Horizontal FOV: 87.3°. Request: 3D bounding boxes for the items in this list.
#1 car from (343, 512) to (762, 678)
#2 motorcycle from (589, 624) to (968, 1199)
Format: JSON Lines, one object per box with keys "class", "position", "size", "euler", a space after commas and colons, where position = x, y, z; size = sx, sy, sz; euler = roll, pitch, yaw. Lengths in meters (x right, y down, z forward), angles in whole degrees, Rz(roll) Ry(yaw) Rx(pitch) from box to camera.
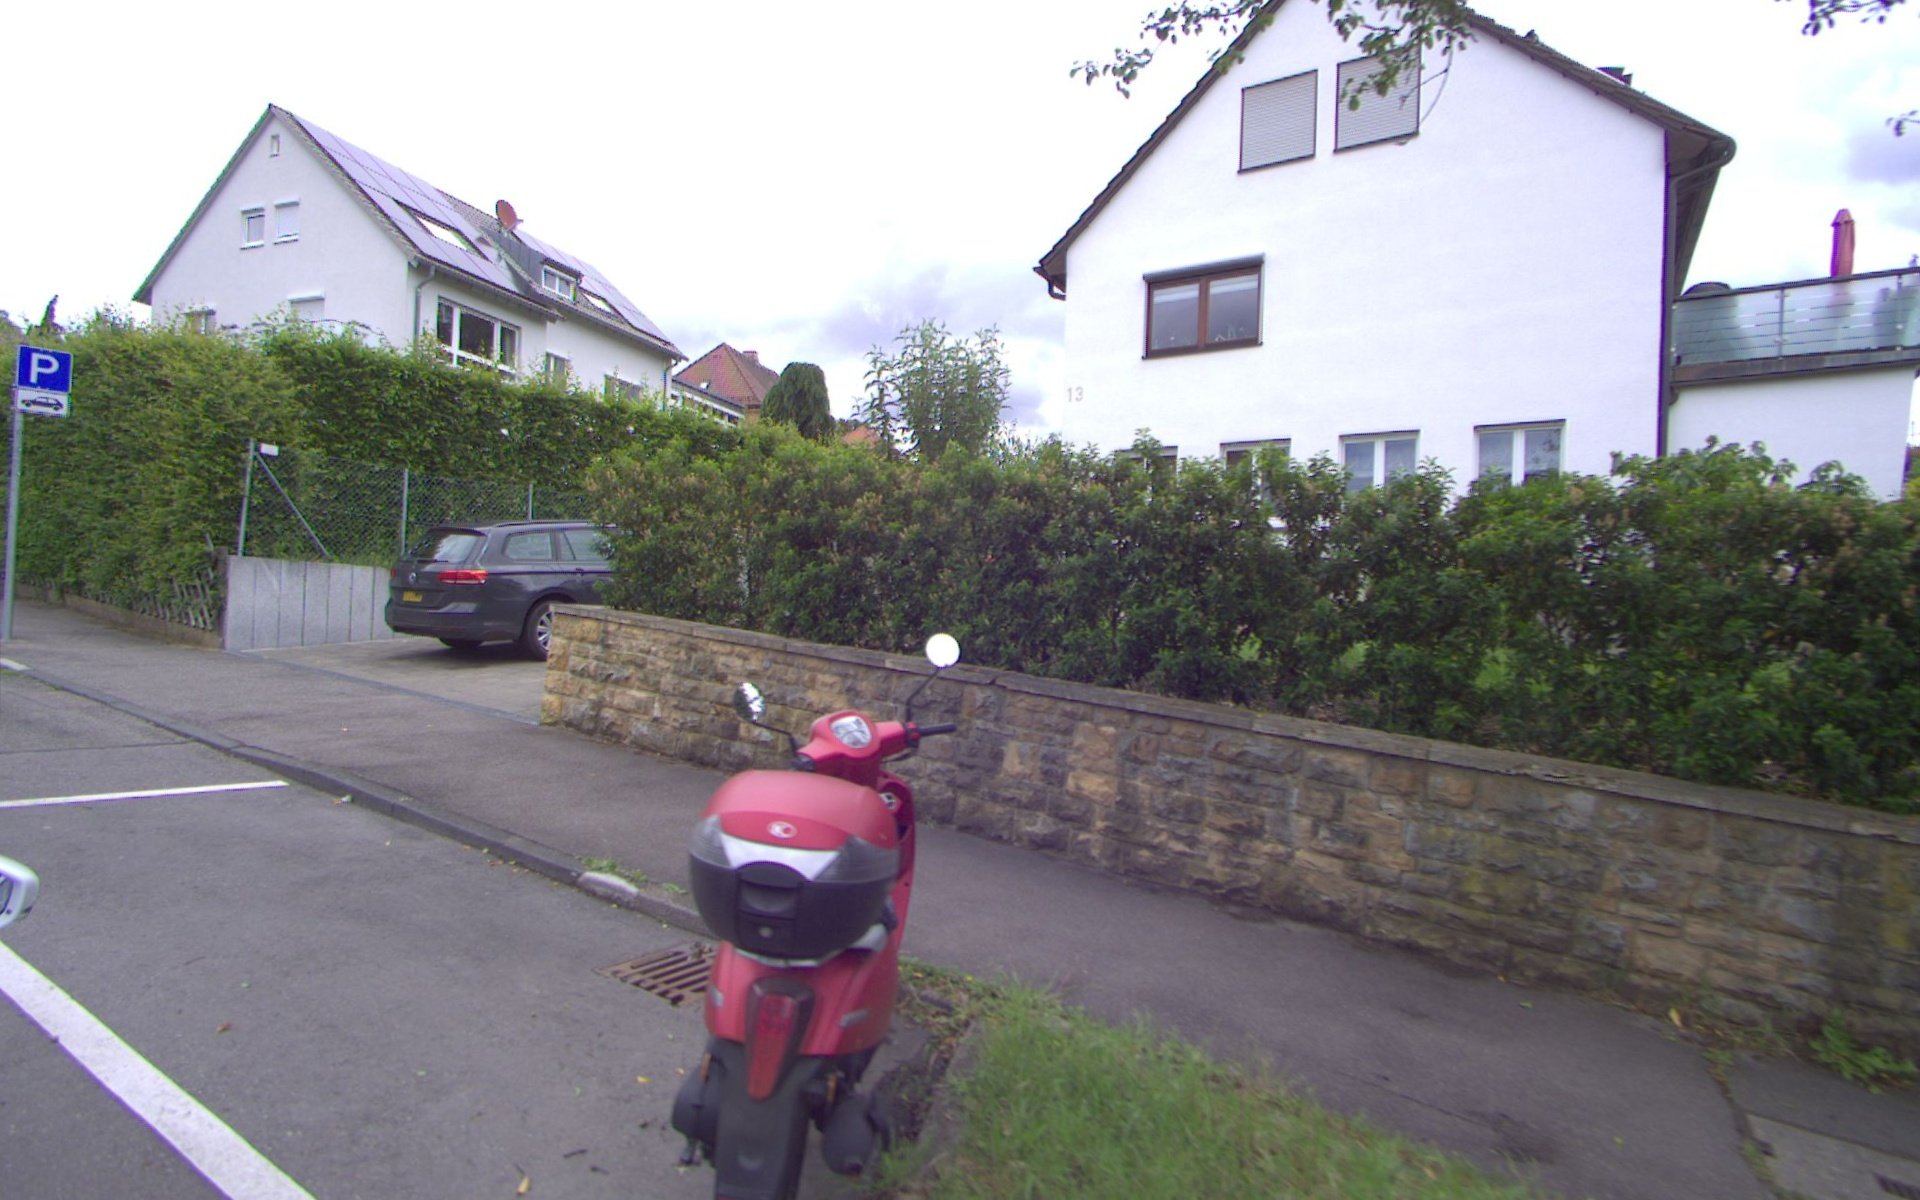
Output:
{"class": "car", "position": [-4.577, -0.249, 12.045], "size": [1.935, 1.492, 4.355], "euler": [6, 8, 30]}
{"class": "motorcycle", "position": [-0.391, 0.806, 2.716], "size": [0.588, 1.364, 1.866], "euler": [5, 1, -3]}
